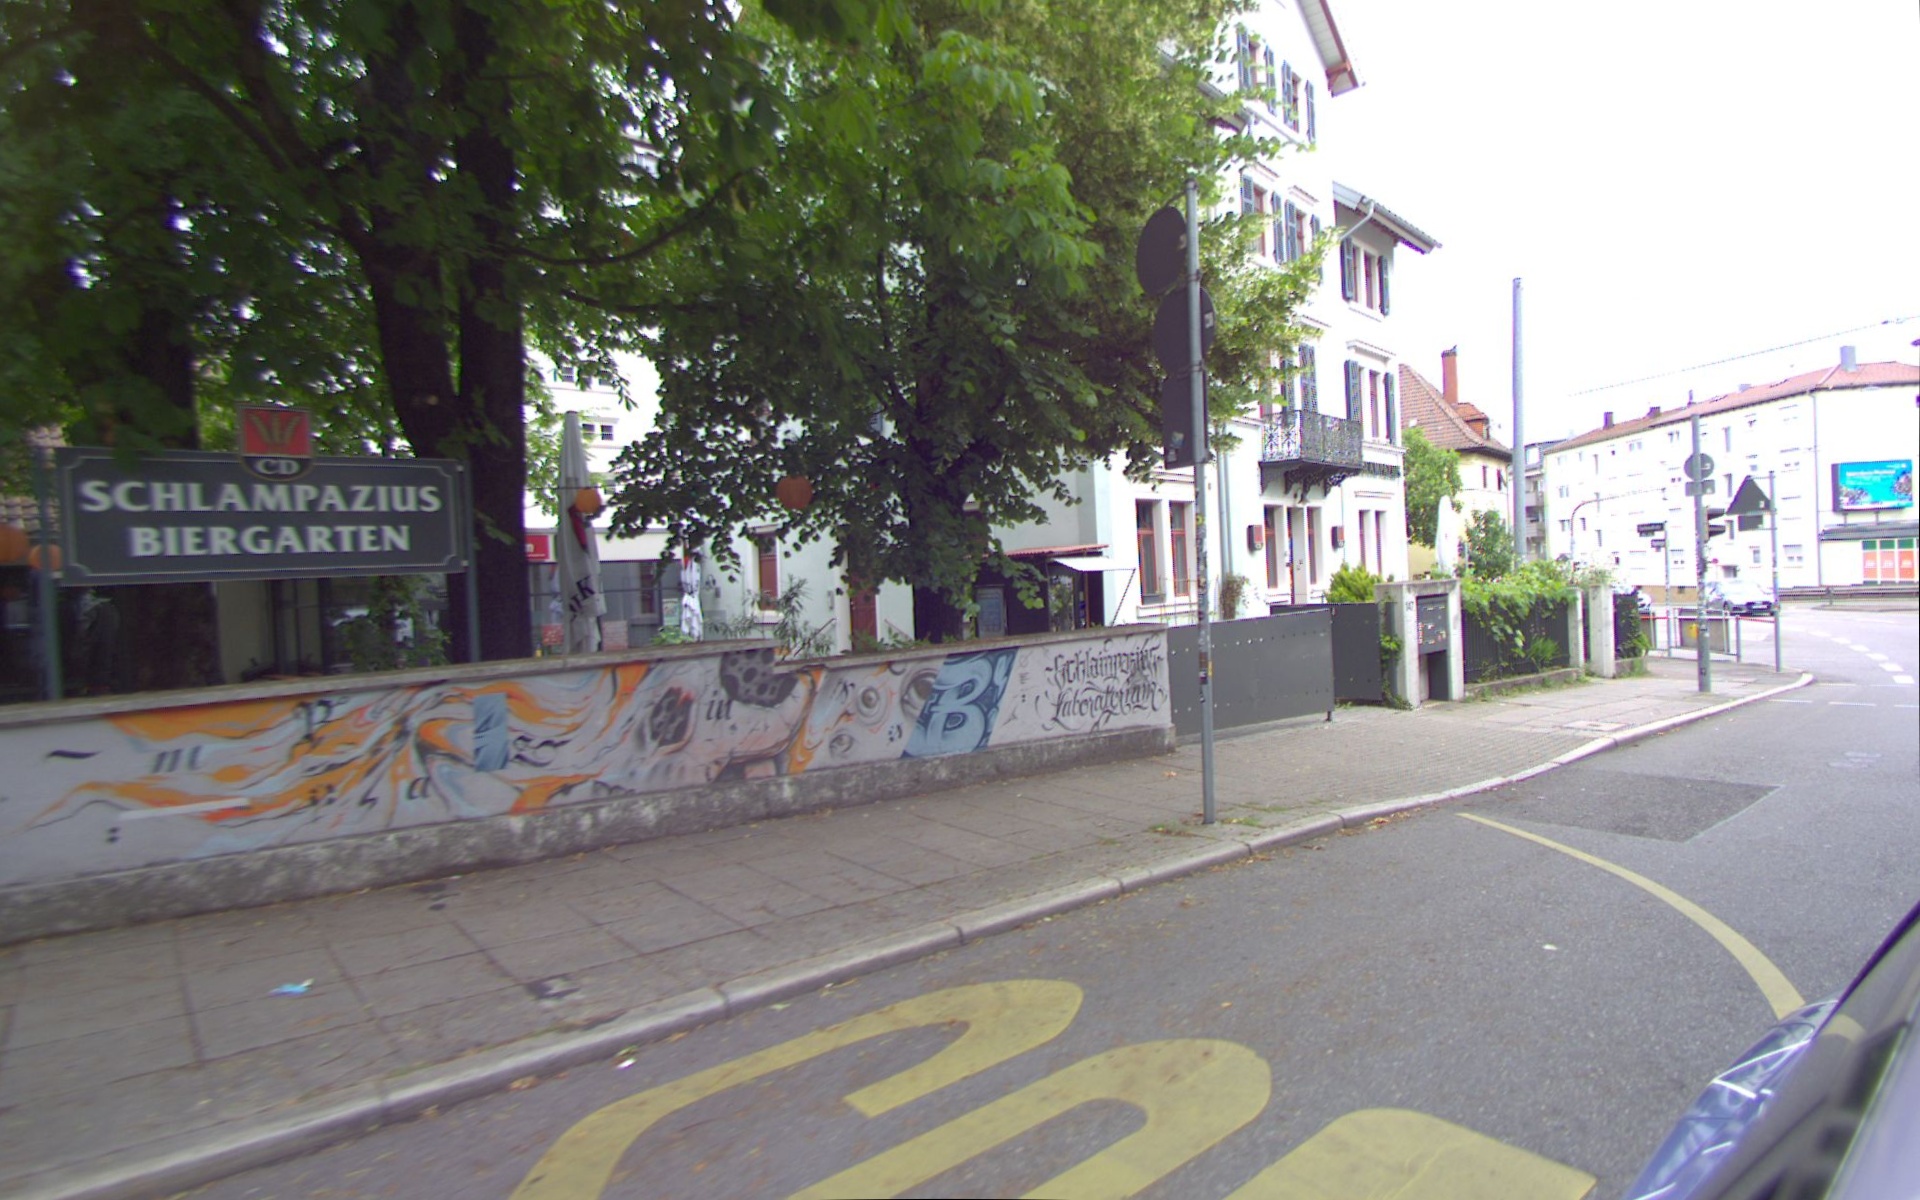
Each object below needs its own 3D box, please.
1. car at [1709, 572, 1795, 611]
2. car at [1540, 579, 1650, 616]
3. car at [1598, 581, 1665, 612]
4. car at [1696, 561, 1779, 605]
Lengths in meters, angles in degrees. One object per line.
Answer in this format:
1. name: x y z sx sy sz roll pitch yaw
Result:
1. car: 34.556 -0.336 44.255 2.018 1.570 4.001 -2 -1 25
2. car: 28.010 -0.112 44.656 3.806 1.498 1.912 -1 -1 -12
3. car: 36.322 -0.142 54.854 1.927 1.570 4.013 -2 -1 17
4. car: 39.510 -0.889 51.538 1.974 2.039 4.245 -3 1 19
